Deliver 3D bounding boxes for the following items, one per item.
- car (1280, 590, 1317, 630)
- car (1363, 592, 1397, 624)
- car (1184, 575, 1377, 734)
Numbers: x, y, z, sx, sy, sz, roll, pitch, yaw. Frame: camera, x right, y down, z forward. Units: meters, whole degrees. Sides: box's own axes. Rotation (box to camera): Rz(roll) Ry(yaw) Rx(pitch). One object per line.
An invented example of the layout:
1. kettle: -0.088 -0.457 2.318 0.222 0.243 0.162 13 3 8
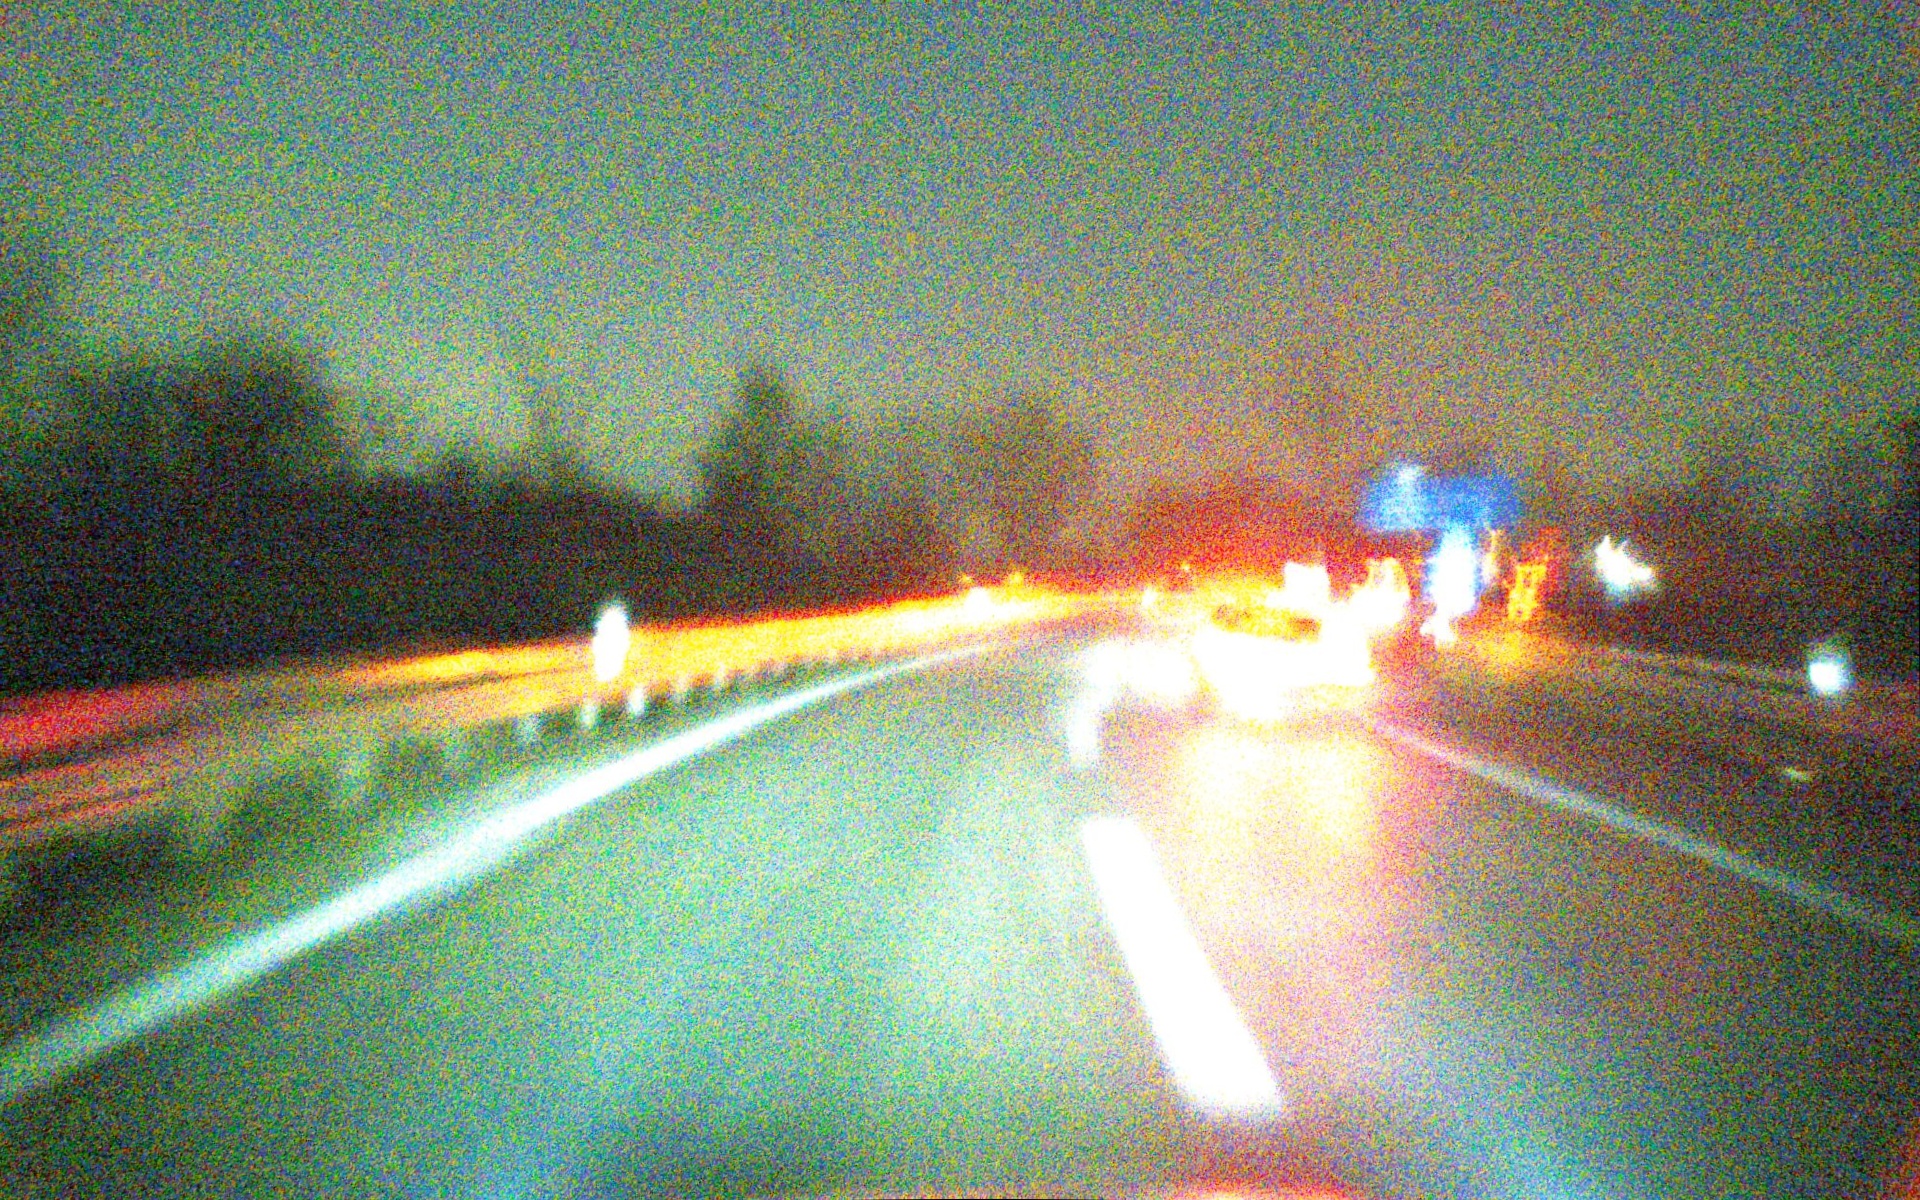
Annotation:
1. car: 18.203 0.533 88.876 1.855 2.076 4.049 1 0 13
2. car: 27.309 0.536 107.469 1.855 2.033 4.047 0 0 18
3. car: 3.771 0.580 20.090 1.821 1.676 4.071 2 0 5
